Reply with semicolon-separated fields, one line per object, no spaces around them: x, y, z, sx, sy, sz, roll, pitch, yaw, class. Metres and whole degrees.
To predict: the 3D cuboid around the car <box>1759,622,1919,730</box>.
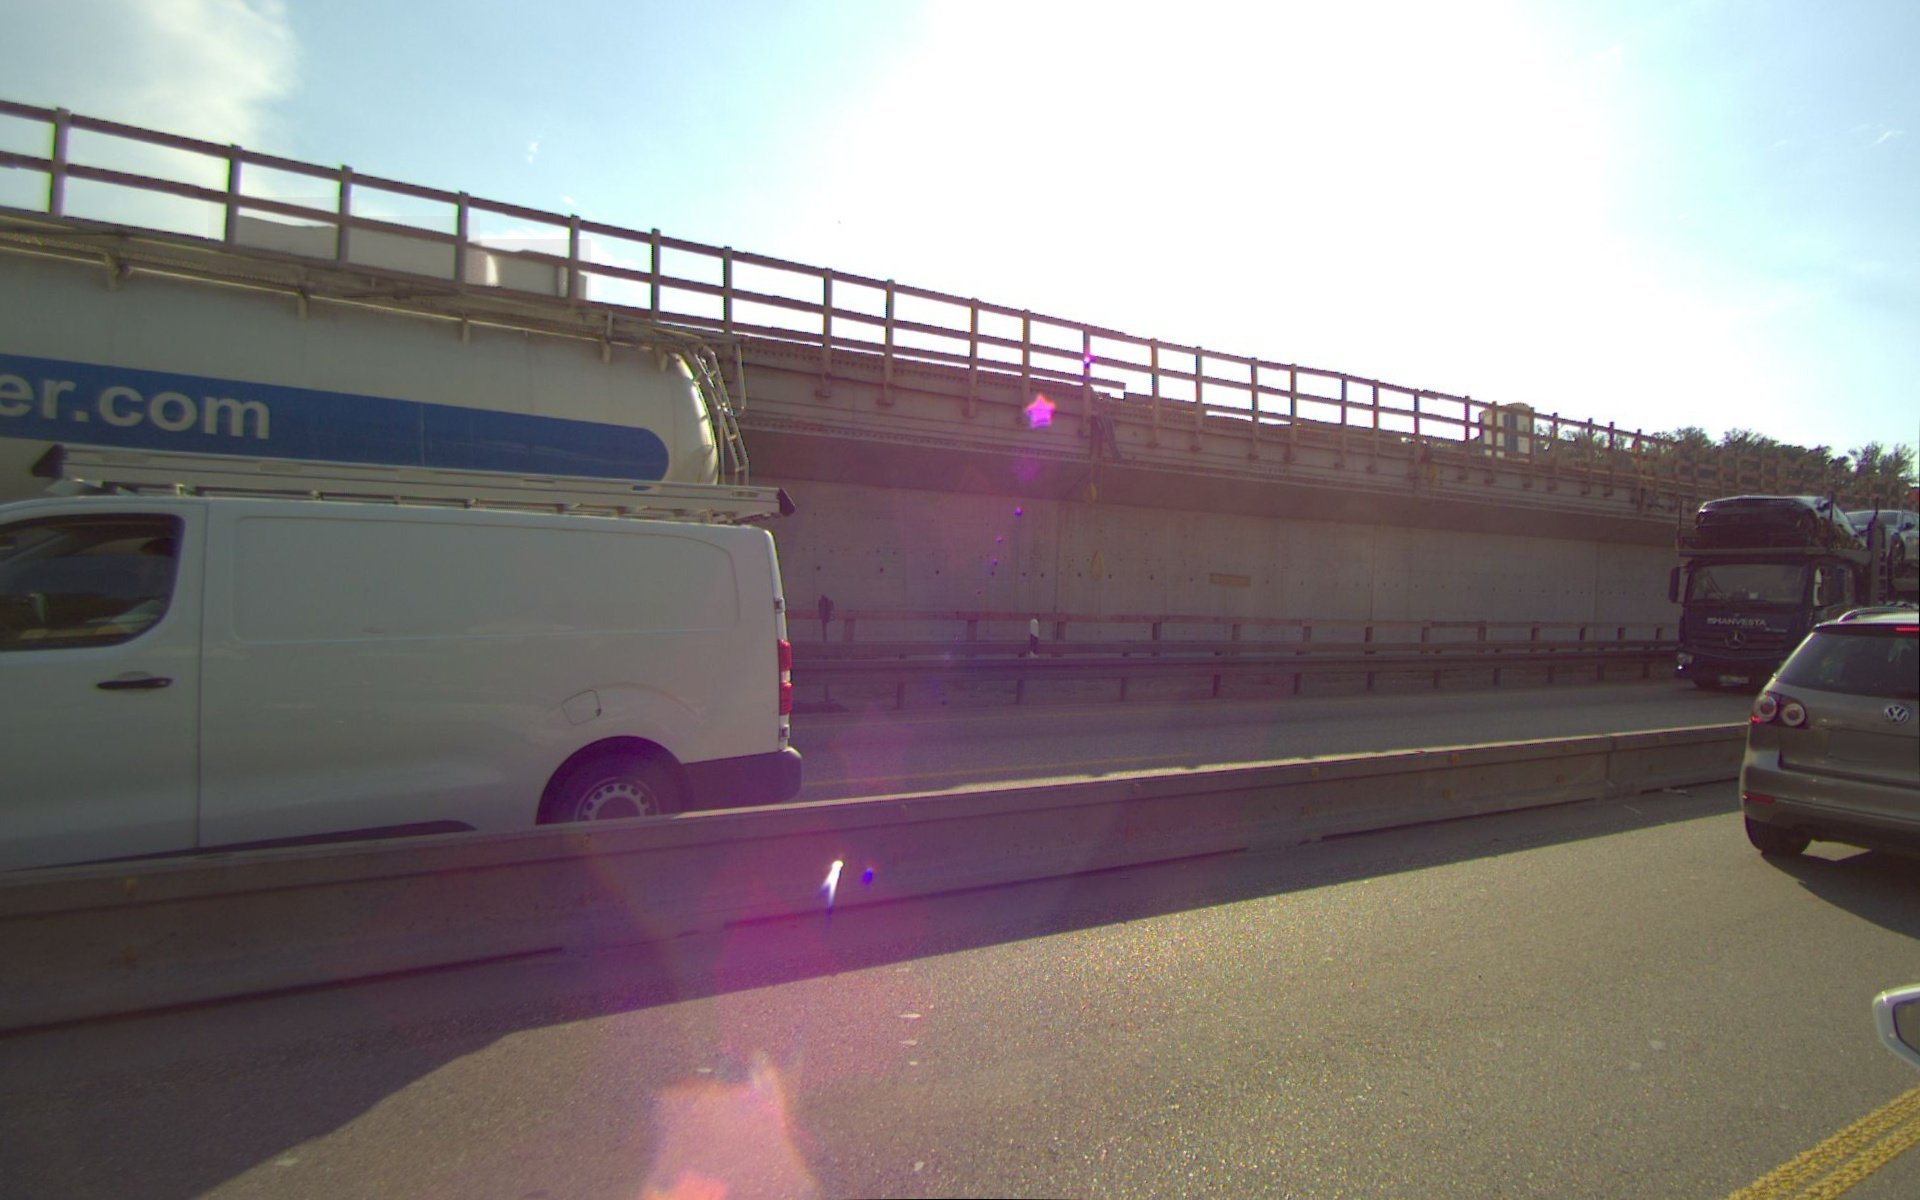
14.813;1.140;16.001;4.545;1.464;1.701;2;0;-30;car

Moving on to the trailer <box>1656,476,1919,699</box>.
18.244;-0.170;21.452;7.124;4.085;2.758;1;1;-31;trailer

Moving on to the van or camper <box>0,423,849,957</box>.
-3.351;0.350;5.111;5.236;2.040;1.848;2;0;-32;van or camper

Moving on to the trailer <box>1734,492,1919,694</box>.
24.925;0.011;25.457;15.580;4.084;2.757;2;0;-31;trailer

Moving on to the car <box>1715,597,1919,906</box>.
6.793;0.854;6.416;4.222;1.609;1.672;2;-1;-31;car

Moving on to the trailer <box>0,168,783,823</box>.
-7.902;-0.677;6.240;13.286;3.902;2.639;2;0;-31;trailer
